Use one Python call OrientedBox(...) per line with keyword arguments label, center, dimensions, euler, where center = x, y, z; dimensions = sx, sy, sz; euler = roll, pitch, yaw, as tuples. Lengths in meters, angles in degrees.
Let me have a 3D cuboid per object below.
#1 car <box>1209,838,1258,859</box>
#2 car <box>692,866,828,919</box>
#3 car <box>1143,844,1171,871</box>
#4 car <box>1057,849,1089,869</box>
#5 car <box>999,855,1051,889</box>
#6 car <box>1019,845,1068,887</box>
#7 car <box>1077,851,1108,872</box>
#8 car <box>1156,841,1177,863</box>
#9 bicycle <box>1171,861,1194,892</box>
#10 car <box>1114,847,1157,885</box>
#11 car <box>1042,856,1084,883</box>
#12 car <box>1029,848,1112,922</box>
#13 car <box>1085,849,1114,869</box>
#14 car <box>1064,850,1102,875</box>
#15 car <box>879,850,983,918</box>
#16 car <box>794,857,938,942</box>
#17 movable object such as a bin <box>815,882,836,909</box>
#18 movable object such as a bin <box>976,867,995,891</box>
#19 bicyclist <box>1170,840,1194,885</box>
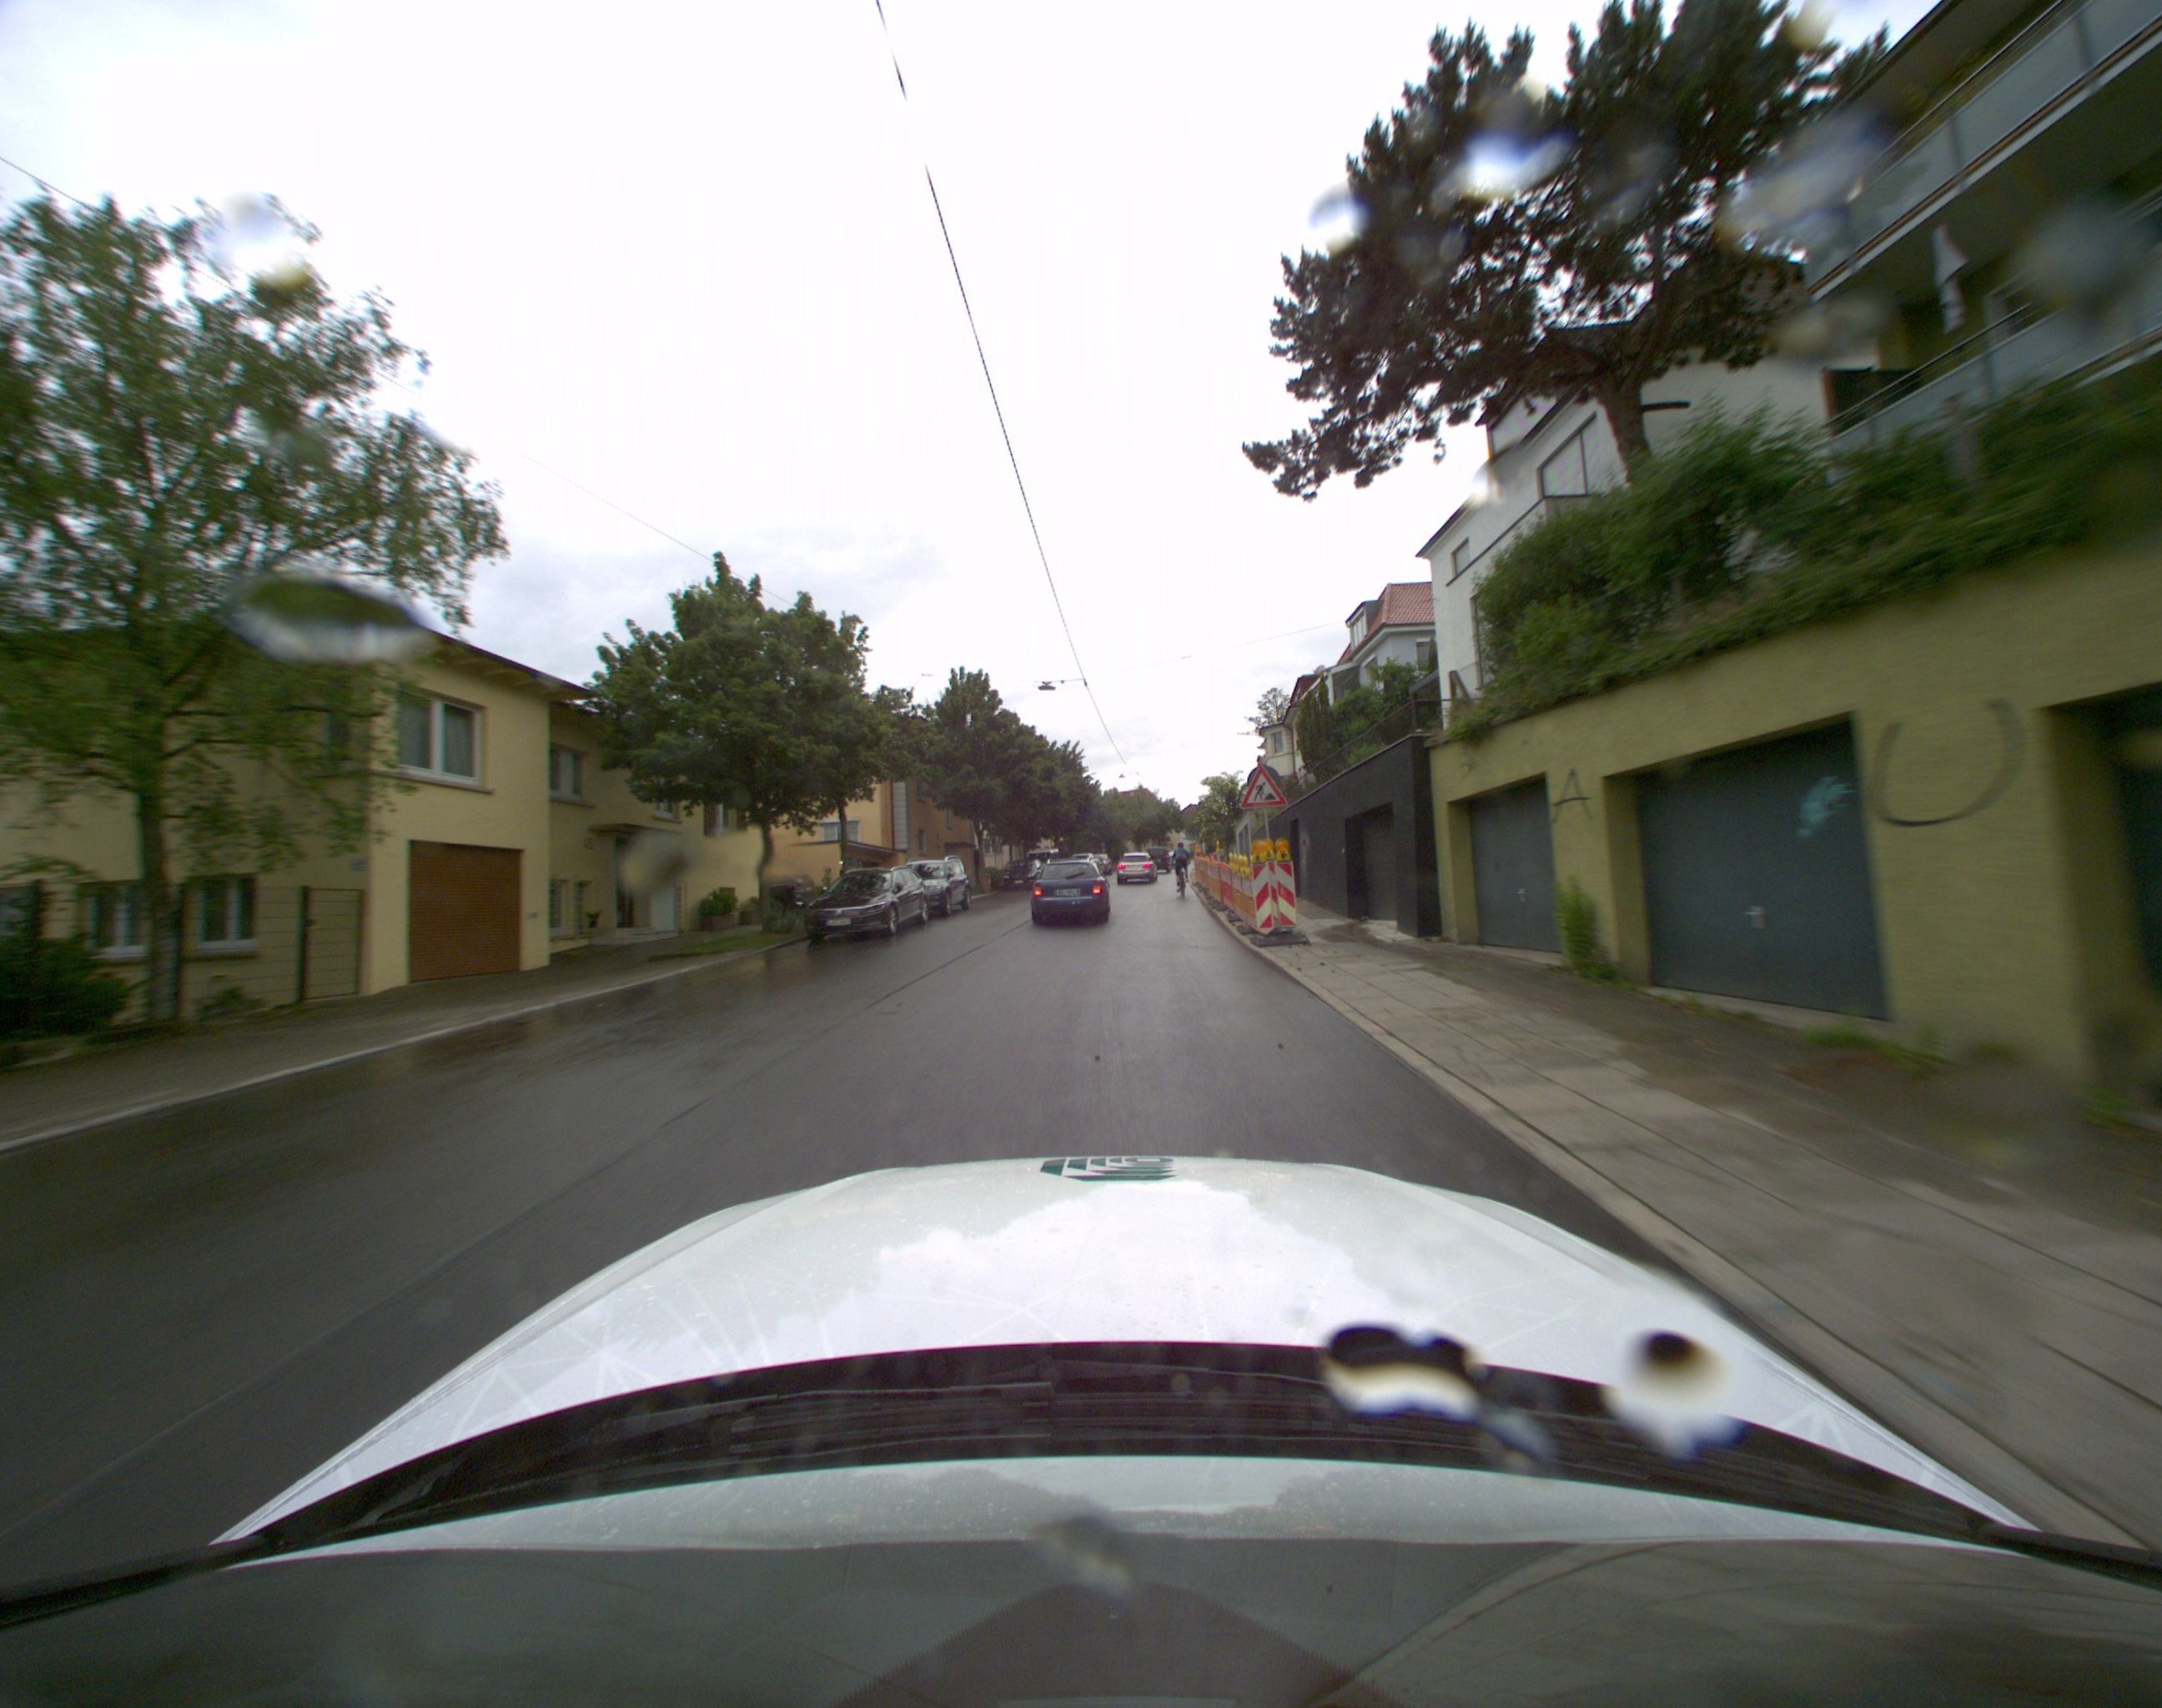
OrientedBox(label="car", center=(13.279, -0.510, 70.953), dimensions=(3.959, 1.466, 1.746), euler=(-5, 1, 13))
OrientedBox(label="car", center=(-11.514, 1.359, 29.356), dimensions=(4.033, 1.646, 1.866), euler=(-3, -1, 5))
OrientedBox(label="car", center=(5.382, 0.217, 57.213), dimensions=(1.724, 1.768, 4.246), euler=(-1, 2, 8))
OrientedBox(label="car", center=(-0.878, 0.553, 91.186), dimensions=(3.190, 1.740, 1.484), euler=(-9, 0, 11))
OrientedBox(label="car", center=(-2.707, 0.863, 40.684), dimensions=(1.759, 1.436, 4.354), euler=(-5, 0, 6))
OrientedBox(label="car", center=(-2.057, 0.609, 46.150), dimensions=(1.782, 2.049, 4.791), euler=(-6, 0, 7))
OrientedBox(label="car", center=(0.934, 0.551, 64.577), dimensions=(1.757, 1.473, 4.019), euler=(-4, -1, 10))
OrientedBox(label="car", center=(7.586, -0.203, 72.050), dimensions=(1.724, 1.768, 4.246), euler=(-1, 2, 8))
OrientedBox(label="bicycle", center=(3.414, 0.756, 27.465), dimensions=(0.726, 0.964, 1.674), euler=(-2, 0, 7))
OrientedBox(label="car", center=(2.727, 0.548, 40.036), dimensions=(1.966, 1.635, 4.241), euler=(-1, 2, 5))
OrientedBox(label="car", center=(-1.116, 0.949, 52.406), dimensions=(1.758, 1.387, 4.646), euler=(-5, 1, 9))
OrientedBox(label="car", center=(-0.146, 0.654, 19.450), dimensions=(1.726, 1.466, 4.004), euler=(-1, 2, 3))
OrientedBox(label="car", center=(1.636, 0.412, 69.743), dimensions=(1.757, 1.539, 4.019), euler=(-5, -1, 10))
OrientedBox(label="car", center=(0.200, 0.616, 59.195), dimensions=(1.757, 1.627, 4.704), euler=(-5, -1, 11))
OrientedBox(label="car", center=(-4.358, 0.808, 24.294), dimensions=(1.759, 1.634, 4.117), euler=(-6, 0, 6))
OrientedBox(label="car", center=(-4.757, 0.928, 18.798), dimensions=(1.761, 1.535, 4.609), euler=(-5, 0, 3))
OrientedBox(label="movable object such as a bin", center=(-9.912, 1.601, 31.604), dimensions=(0.584, 1.023, 0.586), euler=(-2, 0, 3))
OrientedBox(label="movable object such as a bin", center=(-4.510, 1.181, 38.579), dimensions=(0.680, 1.011, 0.708), euler=(-7, 0, 1))
OrientedBox(label="bicyclist", center=(3.388, 0.275, 27.415), dimensions=(0.721, 1.472, 0.888), euler=(-2, 0, 7))
